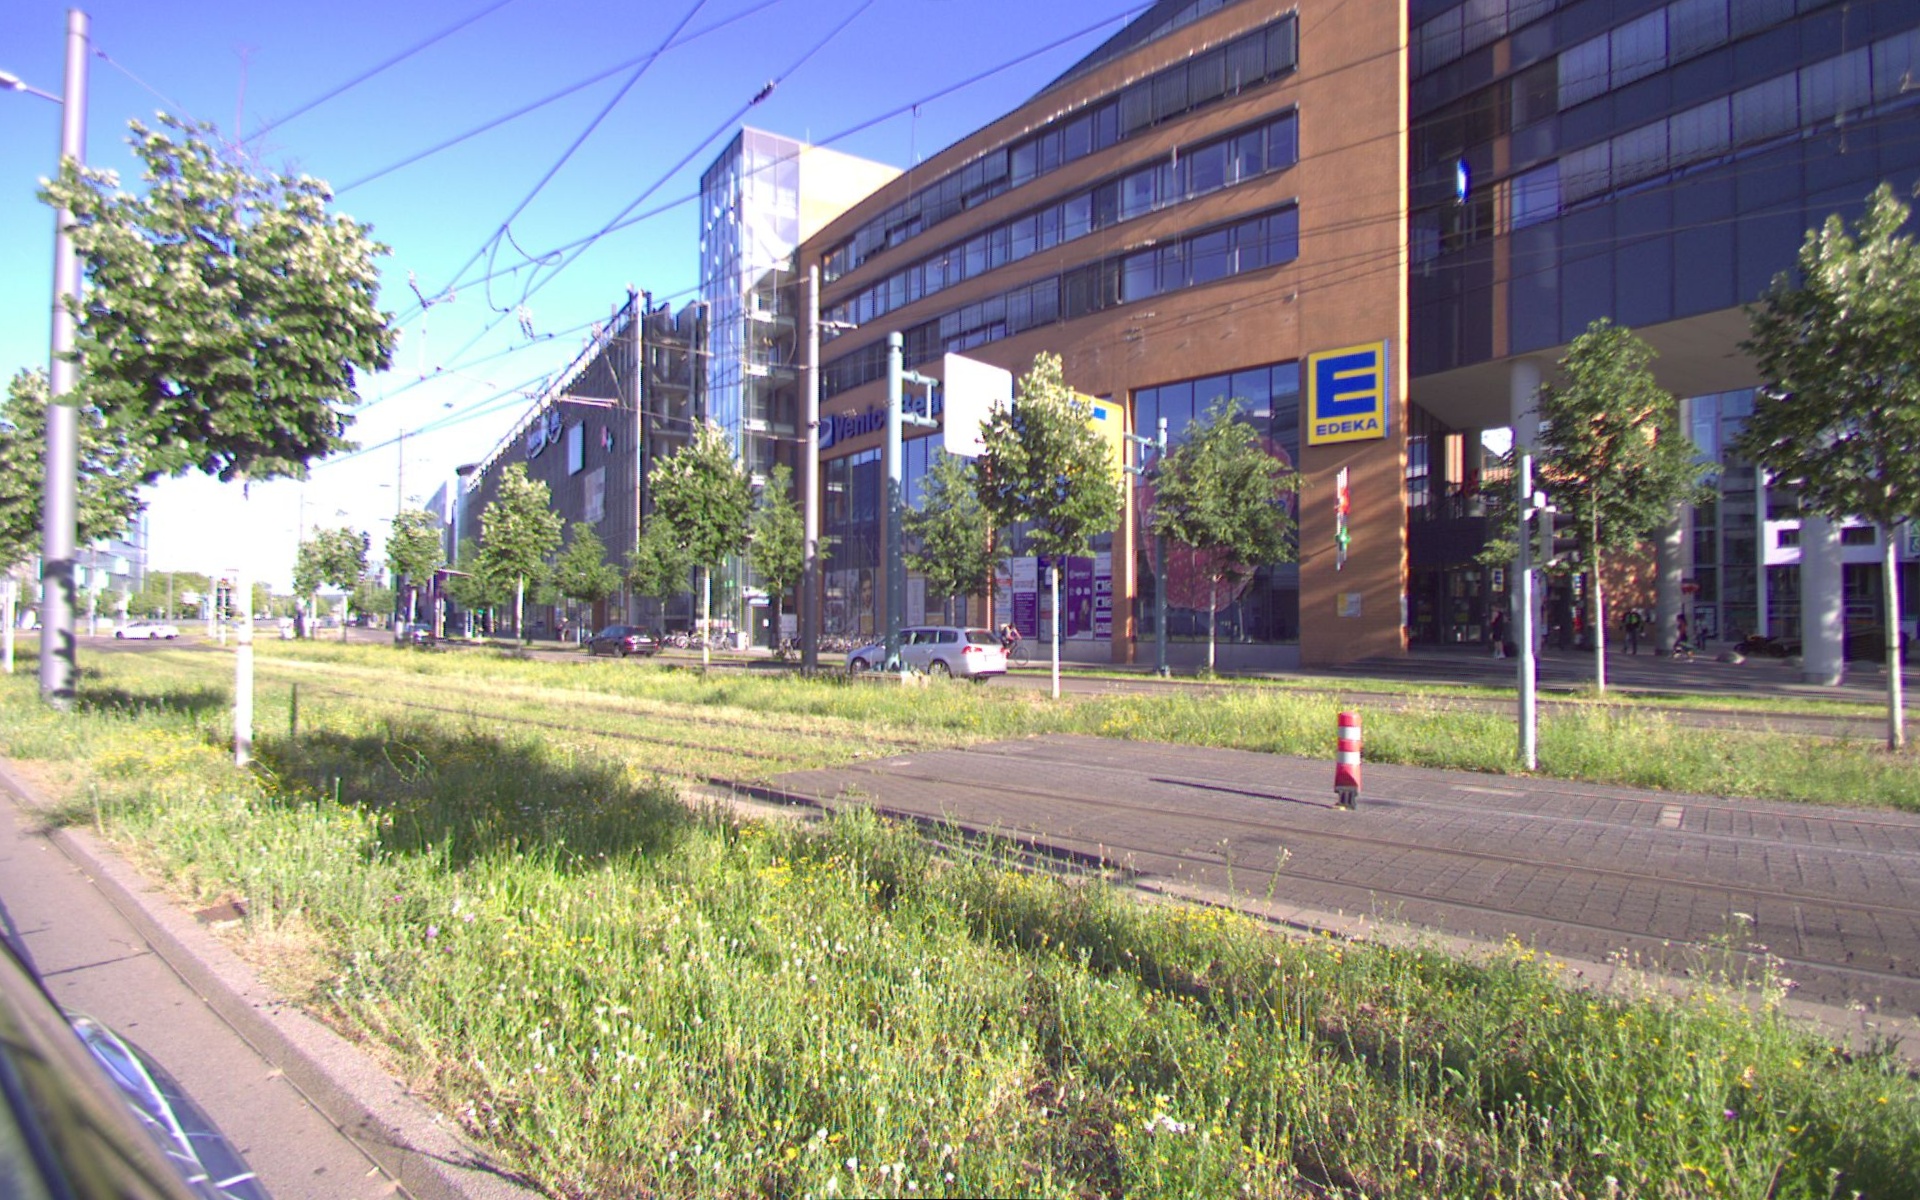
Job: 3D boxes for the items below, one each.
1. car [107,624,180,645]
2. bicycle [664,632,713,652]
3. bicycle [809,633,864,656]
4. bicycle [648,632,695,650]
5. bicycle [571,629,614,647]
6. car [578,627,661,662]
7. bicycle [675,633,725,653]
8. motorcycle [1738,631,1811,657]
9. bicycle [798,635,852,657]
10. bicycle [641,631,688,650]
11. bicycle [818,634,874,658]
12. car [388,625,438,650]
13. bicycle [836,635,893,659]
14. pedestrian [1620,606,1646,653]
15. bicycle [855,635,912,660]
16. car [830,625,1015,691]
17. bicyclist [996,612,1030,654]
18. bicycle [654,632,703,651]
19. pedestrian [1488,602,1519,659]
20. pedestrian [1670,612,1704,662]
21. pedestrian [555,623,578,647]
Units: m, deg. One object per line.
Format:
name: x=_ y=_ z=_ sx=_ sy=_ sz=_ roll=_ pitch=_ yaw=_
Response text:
car: x=-62.884 y=2.636 z=77.991 sx=4.295 sy=1.539 sz=1.678 roll=1 pitch=-2 yaw=1
bicycle: x=-15.830 y=2.454 z=59.111 sx=2.648 sy=1.112 sz=0.897 roll=1 pitch=-3 yaw=-39
bicycle: x=-6.155 y=2.225 z=50.592 sx=2.648 sy=1.112 sz=0.897 roll=1 pitch=-3 yaw=-39
bicycle: x=-17.473 y=2.476 z=61.308 sx=2.648 sy=1.112 sz=0.827 roll=1 pitch=-3 yaw=-39
bicycle: x=-25.575 y=2.632 z=70.496 sx=2.648 sy=1.198 sz=0.897 roll=1 pitch=-3 yaw=-39
car: x=-15.555 y=1.996 z=46.136 sx=4.354 sy=1.539 sz=1.605 roll=-1 pitch=-3 yaw=42
bicycle: x=-14.750 y=2.441 z=57.485 sx=2.648 sy=1.112 sz=0.897 roll=1 pitch=-3 yaw=-39
motorcycle: x=35.696 y=1.911 z=44.374 sx=0.819 sy=1.066 sz=2.347 roll=1 pitch=-2 yaw=-40
bicycle: x=-6.883 y=2.325 z=51.526 sx=2.648 sy=1.112 sz=0.897 roll=1 pitch=-3 yaw=-39
bicycle: x=-18.088 y=2.489 z=61.991 sx=2.648 sy=1.112 sz=0.897 roll=1 pitch=-3 yaw=-39
bicycle: x=-5.552 y=2.227 z=49.406 sx=2.648 sy=1.112 sz=0.897 roll=1 pitch=-3 yaw=-39
car: x=-34.999 y=2.394 z=64.698 sx=4.357 sy=1.539 sz=1.603 roll=-2 pitch=-3 yaw=45
bicycle: x=-4.520 y=2.214 z=48.089 sx=2.648 sy=1.112 sz=0.897 roll=1 pitch=-3 yaw=-39
pedestrian: x=24.957 y=1.079 z=37.536 sx=0.698 sy=1.718 sz=0.724 roll=-1 pitch=-2 yaw=40
bicycle: x=-3.550 y=2.201 z=47.162 sx=2.648 sy=1.112 sz=0.897 roll=1 pitch=-3 yaw=-39
car: x=-1.037 y=1.406 z=25.810 sx=4.795 sy=1.539 sz=1.607 roll=-1 pitch=-2 yaw=37
bicyclist: x=2.006 y=1.269 z=38.365 sx=0.939 sy=1.560 sz=0.883 roll=-2 pitch=-3 yaw=41
bicycle: x=-16.834 y=2.467 z=60.554 sx=2.648 sy=1.112 sz=0.897 roll=1 pitch=-3 yaw=-39
pedestrian: x=16.696 y=0.939 z=31.084 sx=0.698 sy=1.718 sz=0.724 roll=-1 pitch=-2 yaw=40
pedestrian: x=24.219 y=1.215 z=33.720 sx=0.688 sy=1.635 sz=0.735 roll=1 pitch=-2 yaw=-37
pedestrian: x=-28.021 y=2.463 z=72.054 sx=1.093 sy=1.694 sz=1.059 roll=-1 pitch=-2 yaw=35
